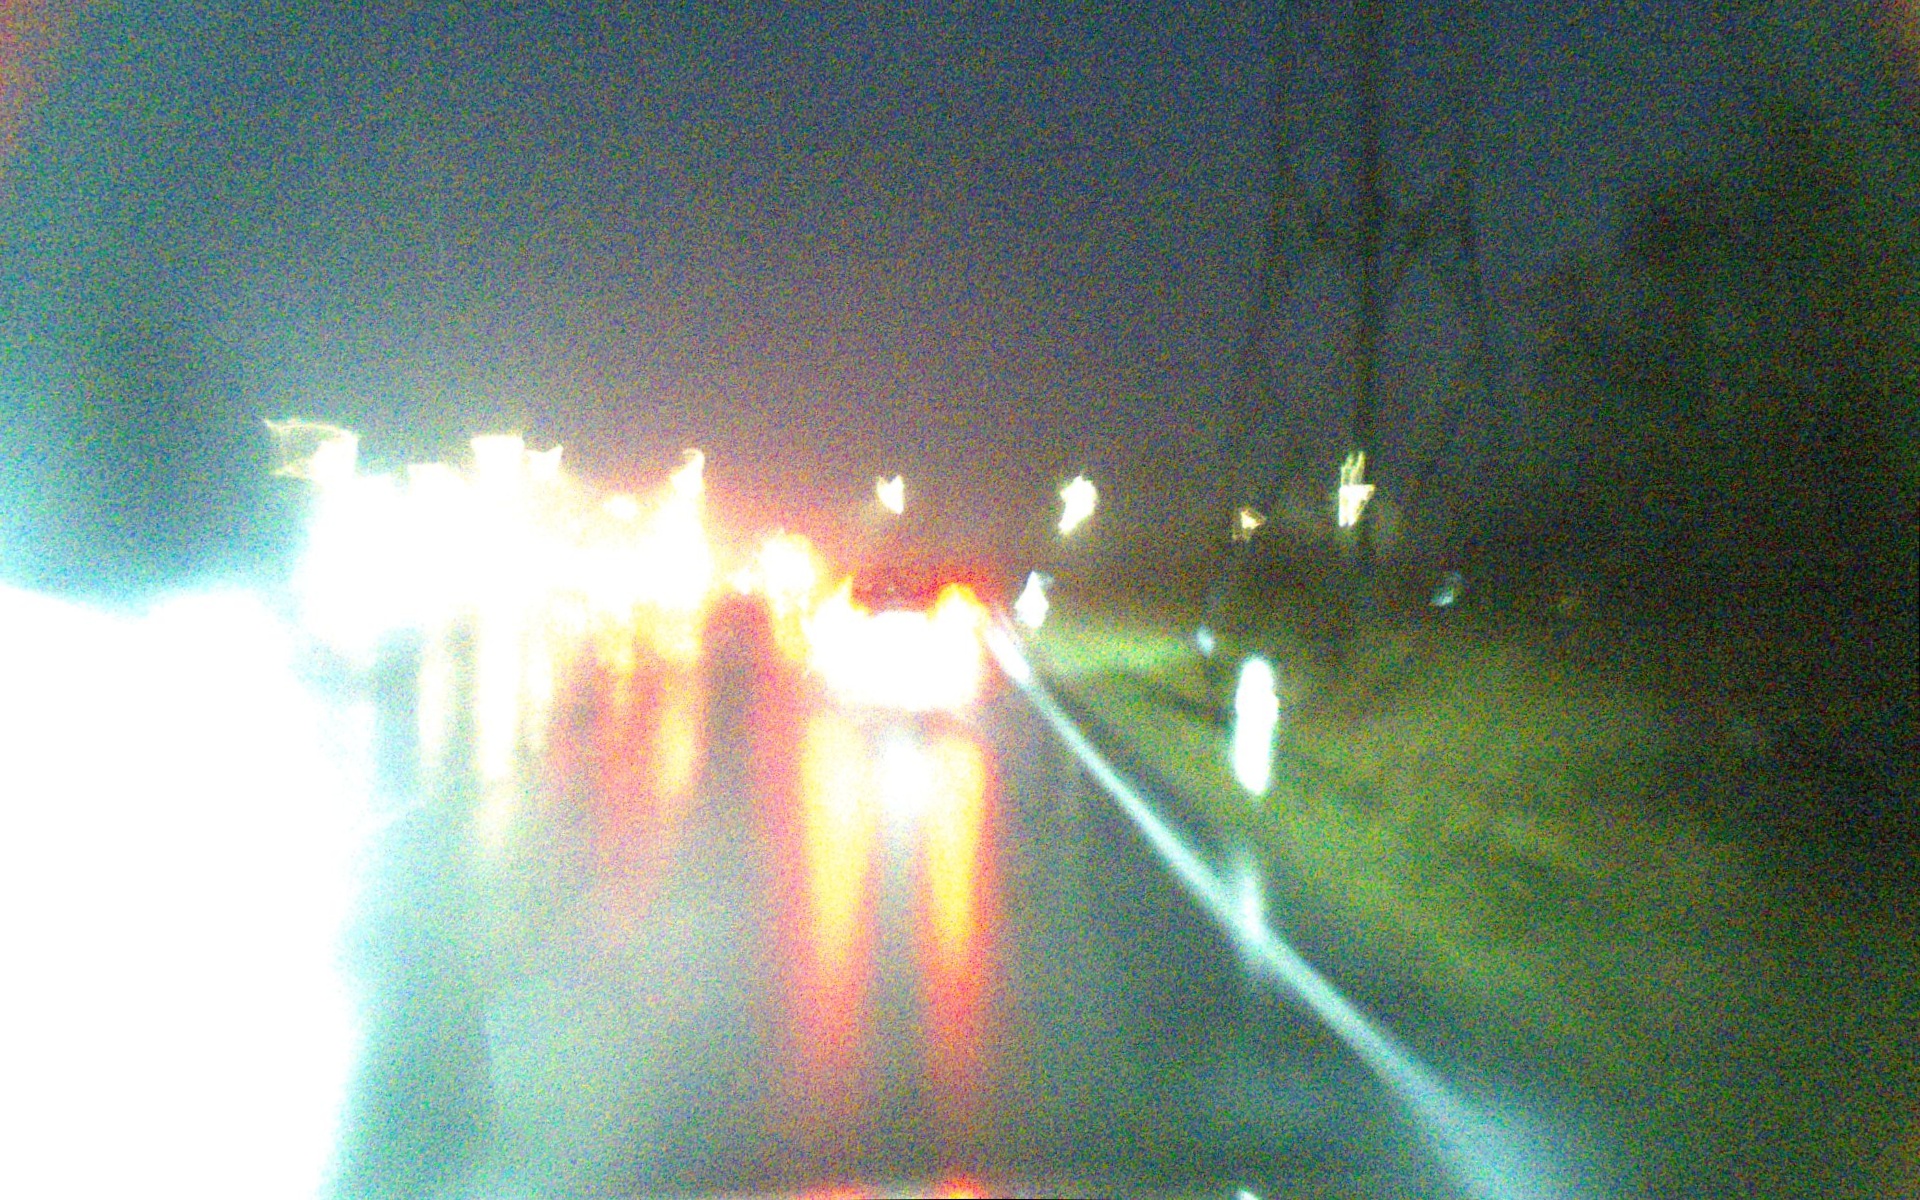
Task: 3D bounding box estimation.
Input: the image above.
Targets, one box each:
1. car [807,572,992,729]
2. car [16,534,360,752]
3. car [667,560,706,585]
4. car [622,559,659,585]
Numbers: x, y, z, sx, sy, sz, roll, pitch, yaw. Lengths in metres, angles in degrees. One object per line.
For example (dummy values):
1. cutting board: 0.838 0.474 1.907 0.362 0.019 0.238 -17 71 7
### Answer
1. car: -0.720 0.536 20.176 1.953 1.656 4.982 1 0 -2
2. car: -7.227 0.354 16.060 1.826 1.778 4.949 0 0 -11
3. car: -19.604 -1.988 118.365 1.963 1.656 4.960 -2 2 -18
4. car: -22.847 -2.014 118.097 1.963 1.656 4.960 -2 2 -18
